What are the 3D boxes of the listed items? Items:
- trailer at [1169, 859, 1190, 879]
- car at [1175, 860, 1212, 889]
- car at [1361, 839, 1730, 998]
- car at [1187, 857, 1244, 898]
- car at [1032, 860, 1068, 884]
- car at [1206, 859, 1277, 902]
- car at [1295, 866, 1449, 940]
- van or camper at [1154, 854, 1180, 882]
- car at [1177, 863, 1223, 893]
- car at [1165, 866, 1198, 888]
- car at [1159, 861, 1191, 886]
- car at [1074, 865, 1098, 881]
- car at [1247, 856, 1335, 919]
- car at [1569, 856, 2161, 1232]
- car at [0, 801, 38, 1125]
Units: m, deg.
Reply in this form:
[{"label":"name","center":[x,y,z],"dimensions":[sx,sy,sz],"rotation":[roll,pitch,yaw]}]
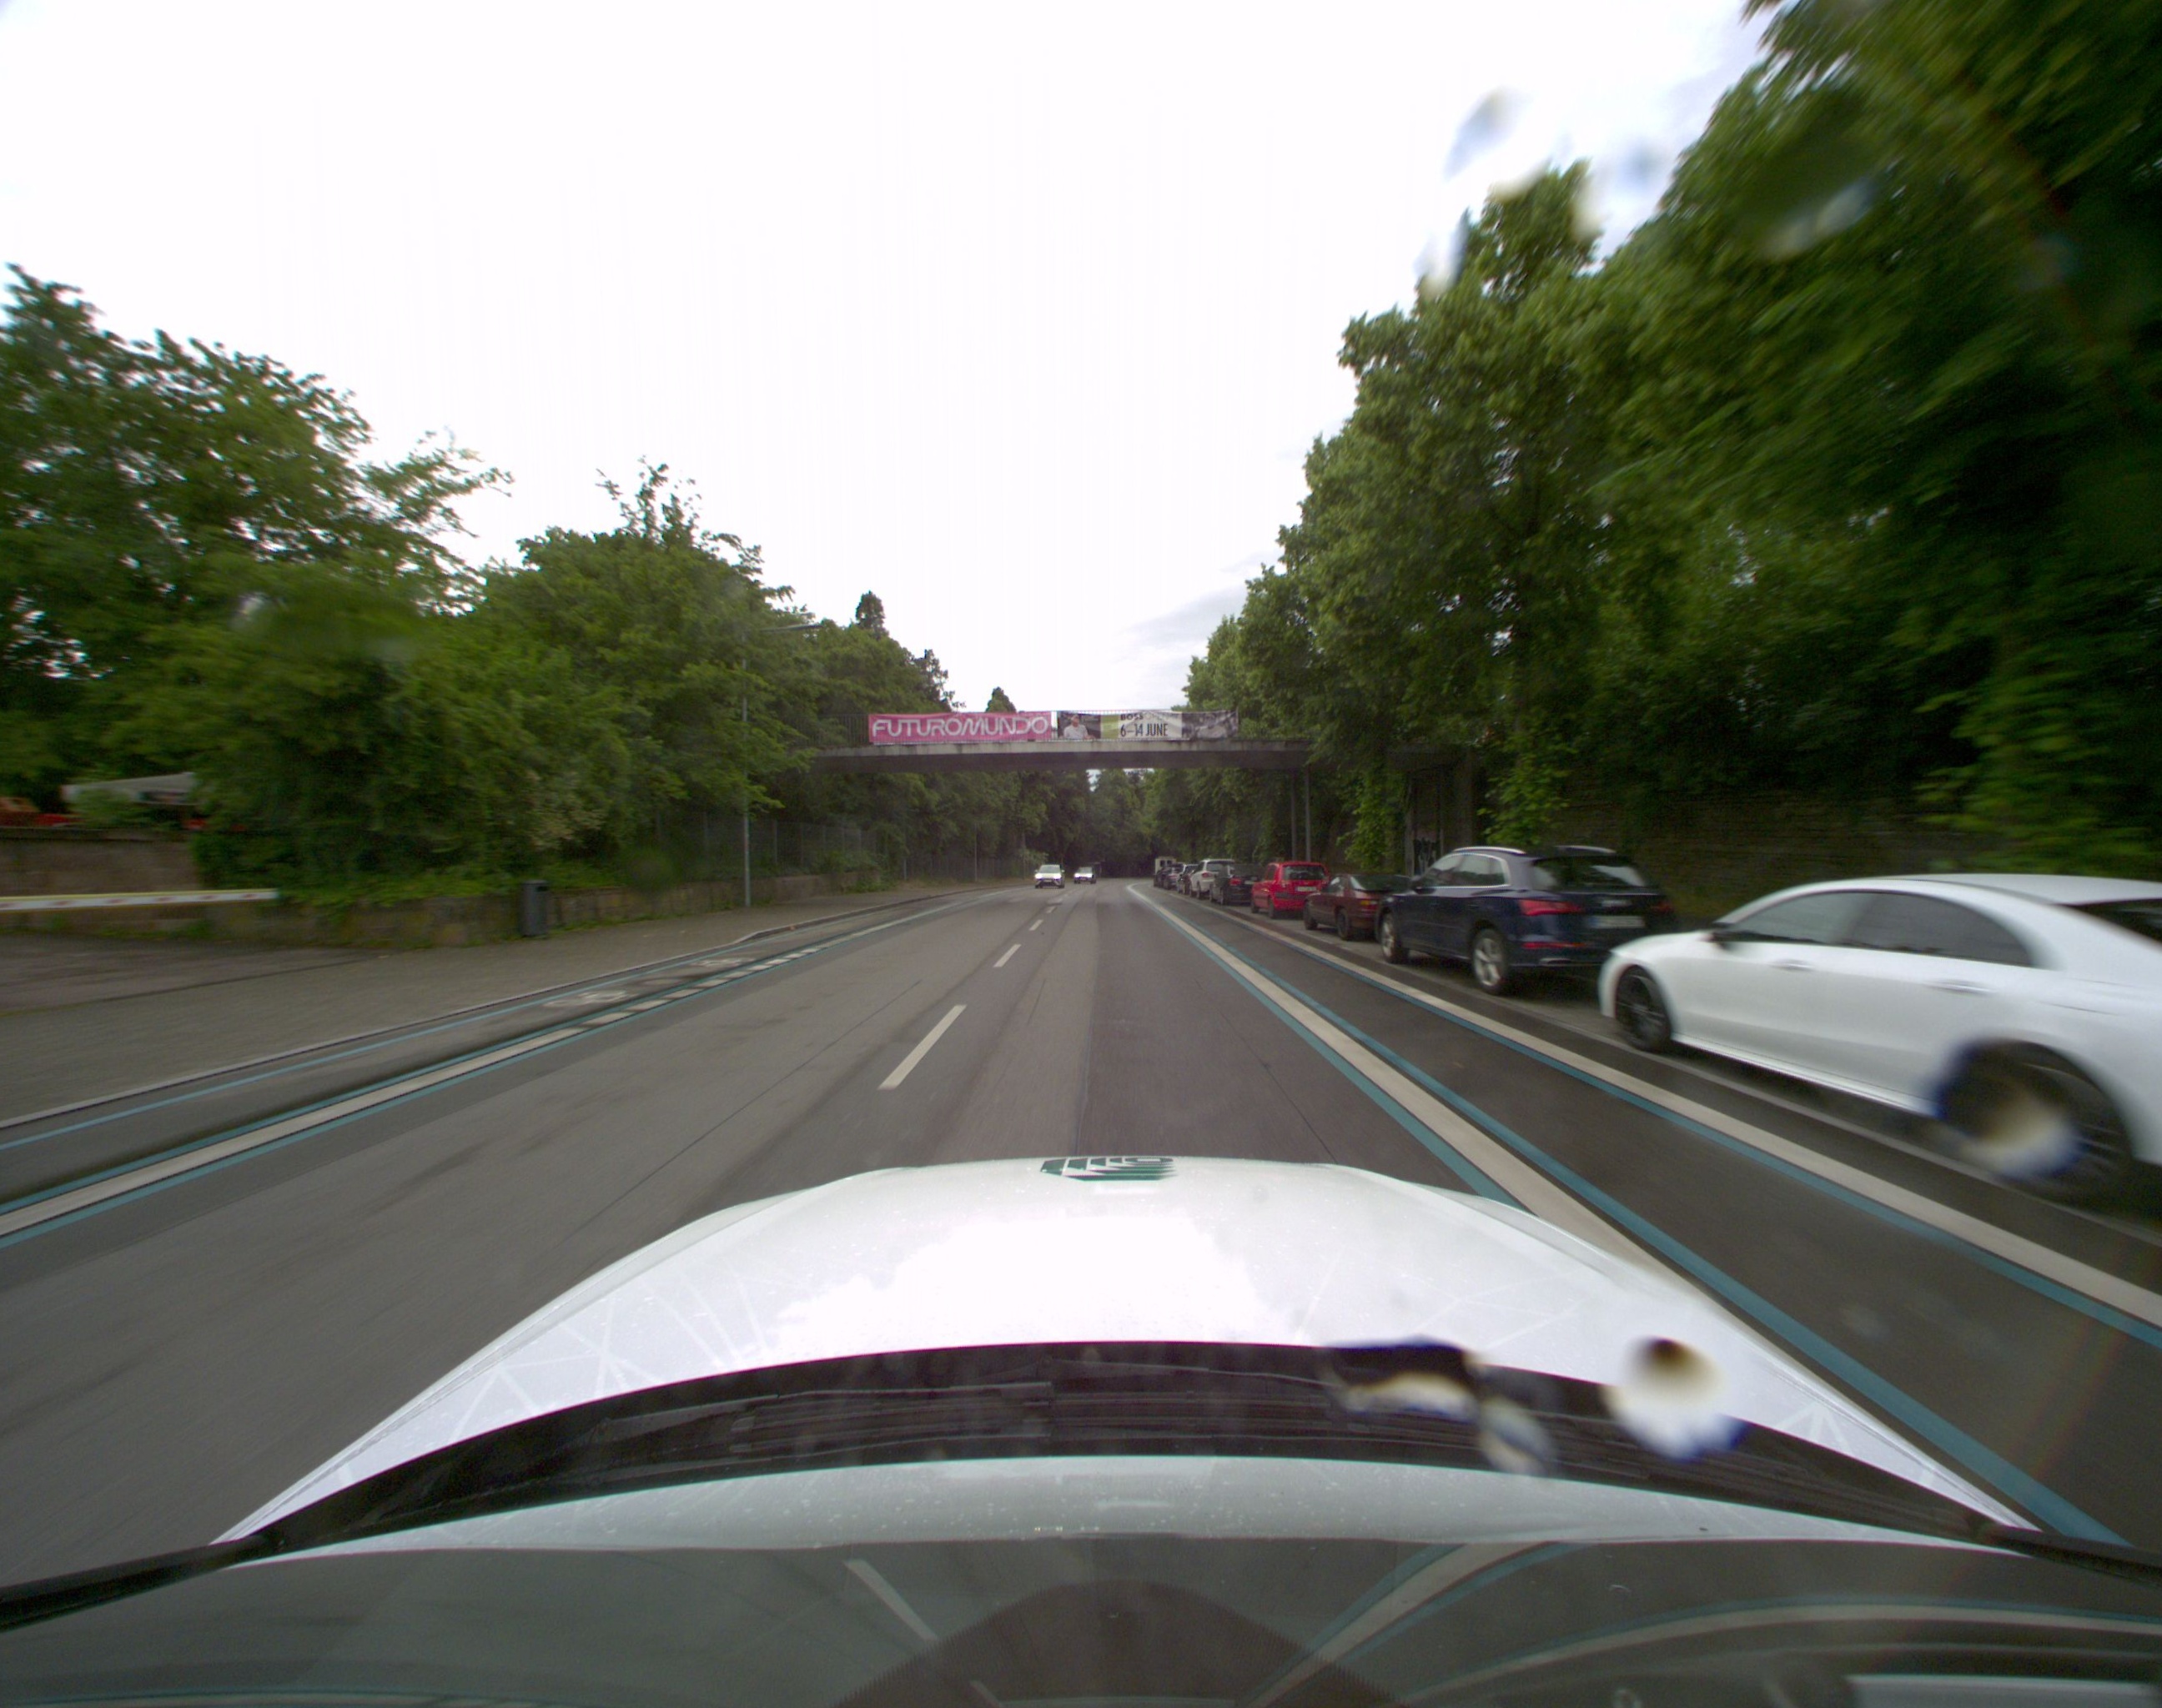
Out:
[{"label":"trailer","center":[13.369,2.071,110.152],"dimensions":[2.301,2.672,5.392],"rotation":[0,-1,11]},{"label":"car","center":[6.241,1.146,45.505],"dimensions":[1.655,1.535,3.742],"rotation":[1,-1,1]},{"label":"car","center":[5.441,0.623,10.436],"dimensions":[1.988,1.560,4.639],"rotation":[0,0,-2]},{"label":"car","center":[5.631,0.994,34.609],"dimensions":[1.708,1.619,4.260],"rotation":[0,-1,0]},{"label":"car","center":[-2.012,1.159,53.528],"dimensions":[1.963,1.552,3.874],"rotation":[0,0,4]},{"label":"car","center":[5.585,0.936,28.858],"dimensions":[1.667,1.394,4.450],"rotation":[0,-2,1]},{"label":"car","center":[5.634,0.885,16.340],"dimensions":[1.620,1.190,4.183],"rotation":[0,0,0]},{"label":"van or camper","center":[8.606,1.414,81.432],"dimensions":[2.303,2.665,6.396],"rotation":[0,-1,8]},{"label":"car","center":[5.829,1.210,40.357],"dimensions":[1.712,1.376,4.558],"rotation":[0,-3,1]},{"label":"car","center":[6.212,1.438,50.618],"dimensions":[1.767,1.348,4.469],"rotation":[0,-2,3]},{"label":"car","center":[6.630,1.413,57.623],"dimensions":[1.985,1.645,4.350],"rotation":[0,-2,3]},{"label":"car","center":[0.519,1.861,80.033],"dimensions":[1.786,1.577,4.111],"rotation":[-1,-2,8]},{"label":"car","center":[5.606,0.832,22.093],"dimensions":[1.553,1.466,3.627],"rotation":[0,2,1]},{"label":"car","center":[5.123,0.750,4.977],"dimensions":[1.653,1.426,4.620],"rotation":[0,0,2]},{"label":"car","center":[-7.516,0.692,2.386],"dimensions":[1.970,1.914,5.232],"rotation":[-1,1,3]}]
